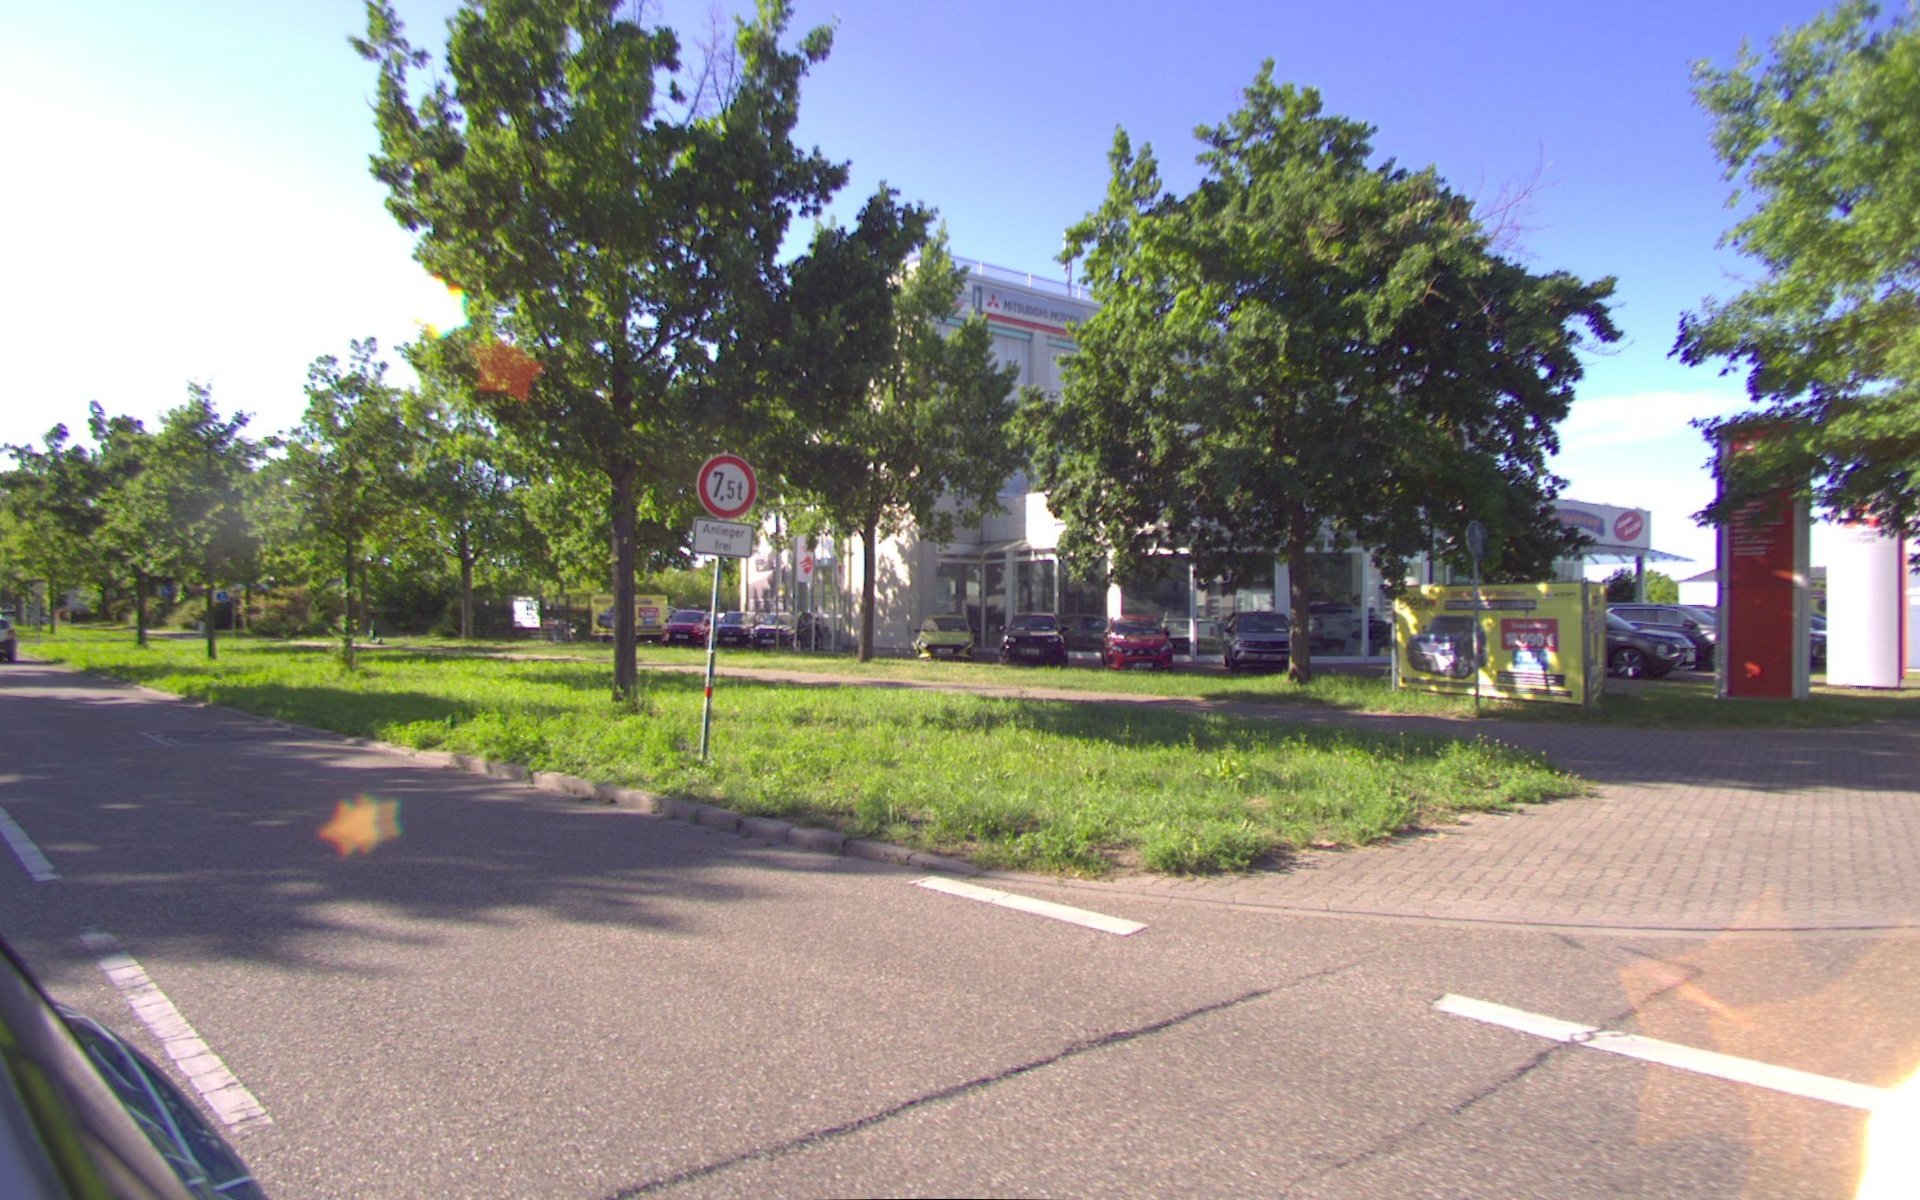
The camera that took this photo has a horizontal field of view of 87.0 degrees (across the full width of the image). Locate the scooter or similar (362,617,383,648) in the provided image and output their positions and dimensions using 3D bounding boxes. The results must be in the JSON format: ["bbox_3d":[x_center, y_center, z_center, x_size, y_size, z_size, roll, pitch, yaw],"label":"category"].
[{"bbox_3d":[-24.712,1.351,42.569,1.441,1.289,0.390,-1,-1,44],"label":"scooter or similar"}]

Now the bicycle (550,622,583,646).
[{"bbox_3d":[-17.982,1.547,46.282,1.891,1.096,0.632,-1,-1,42],"label":"bicycle"}]

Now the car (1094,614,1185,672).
[{"bbox_3d":[4.885,1.139,28.064,1.974,1.502,4.165,0,-1,3],"label":"car"}]

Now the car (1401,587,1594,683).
[{"bbox_3d":[12.476,0.784,23.945,1.972,2.029,4.857,0,-1,1],"label":"car"}]

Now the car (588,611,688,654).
[{"bbox_3d":[-14.847,1.446,46.717,3.965,1.796,2.030,-1,0,-37],"label":"car"}]

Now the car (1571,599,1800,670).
[{"bbox_3d":[20.347,0.938,28.602,1.967,1.826,4.883,1,-1,-36],"label":"car"}]

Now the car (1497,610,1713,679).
[{"bbox_3d":[16.176,1.061,25.549,1.967,1.583,4.179,1,-1,-37],"label":"car"}]

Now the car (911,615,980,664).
[{"bbox_3d":[-0.395,1.183,31.183,1.972,1.412,3.952,0,-1,1],"label":"car"}]

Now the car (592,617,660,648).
[{"bbox_3d":[-16.456,1.593,49.812,1.773,1.459,4.006,1,-1,-41],"label":"car"}]

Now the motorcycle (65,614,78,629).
[{"bbox_3d":[-88.011,2.125,100.234,0.729,1.443,1.992,-4,2,-44],"label":"motorcycle"}]

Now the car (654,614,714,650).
[{"bbox_3d":[-11.599,1.328,42.798,1.774,1.459,4.004,0,-1,-5],"label":"car"}]

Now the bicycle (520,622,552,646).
[{"bbox_3d":[-19.695,1.558,46.944,1.891,1.096,0.632,-1,-1,42],"label":"bicycle"}]

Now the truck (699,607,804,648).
[{"bbox_3d":[-10.257,1.324,49.932,4.613,1.796,2.030,-1,0,-37],"label":"truck"}]

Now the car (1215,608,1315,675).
[{"bbox_3d":[7.722,1.024,26.002,1.978,1.574,4.156,0,-1,11],"label":"car"}]

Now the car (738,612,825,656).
[{"bbox_3d":[-6.636,1.247,37.993,1.783,1.523,3.983,-2,-1,13],"label":"car"}]

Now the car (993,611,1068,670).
[{"bbox_3d":[1.932,1.098,28.772,1.870,1.550,4.168,0,-1,1],"label":"car"}]

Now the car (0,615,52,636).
[{"bbox_3d":[-76.813,2.056,82.015,2.190,1.570,4.579,-2,0,41],"label":"car"}]

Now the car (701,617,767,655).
[{"bbox_3d":[-8.944,1.392,40.300,1.776,1.459,4.000,0,-1,0],"label":"car"}]

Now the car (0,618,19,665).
[{"bbox_3d":[-31.801,1.332,32.765,4.428,1.476,1.724,-2,-2,44],"label":"car"}]

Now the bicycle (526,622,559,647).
[{"bbox_3d":[-18.868,1.566,45.760,1.891,1.096,0.632,-1,-1,42],"label":"bicycle"}]
